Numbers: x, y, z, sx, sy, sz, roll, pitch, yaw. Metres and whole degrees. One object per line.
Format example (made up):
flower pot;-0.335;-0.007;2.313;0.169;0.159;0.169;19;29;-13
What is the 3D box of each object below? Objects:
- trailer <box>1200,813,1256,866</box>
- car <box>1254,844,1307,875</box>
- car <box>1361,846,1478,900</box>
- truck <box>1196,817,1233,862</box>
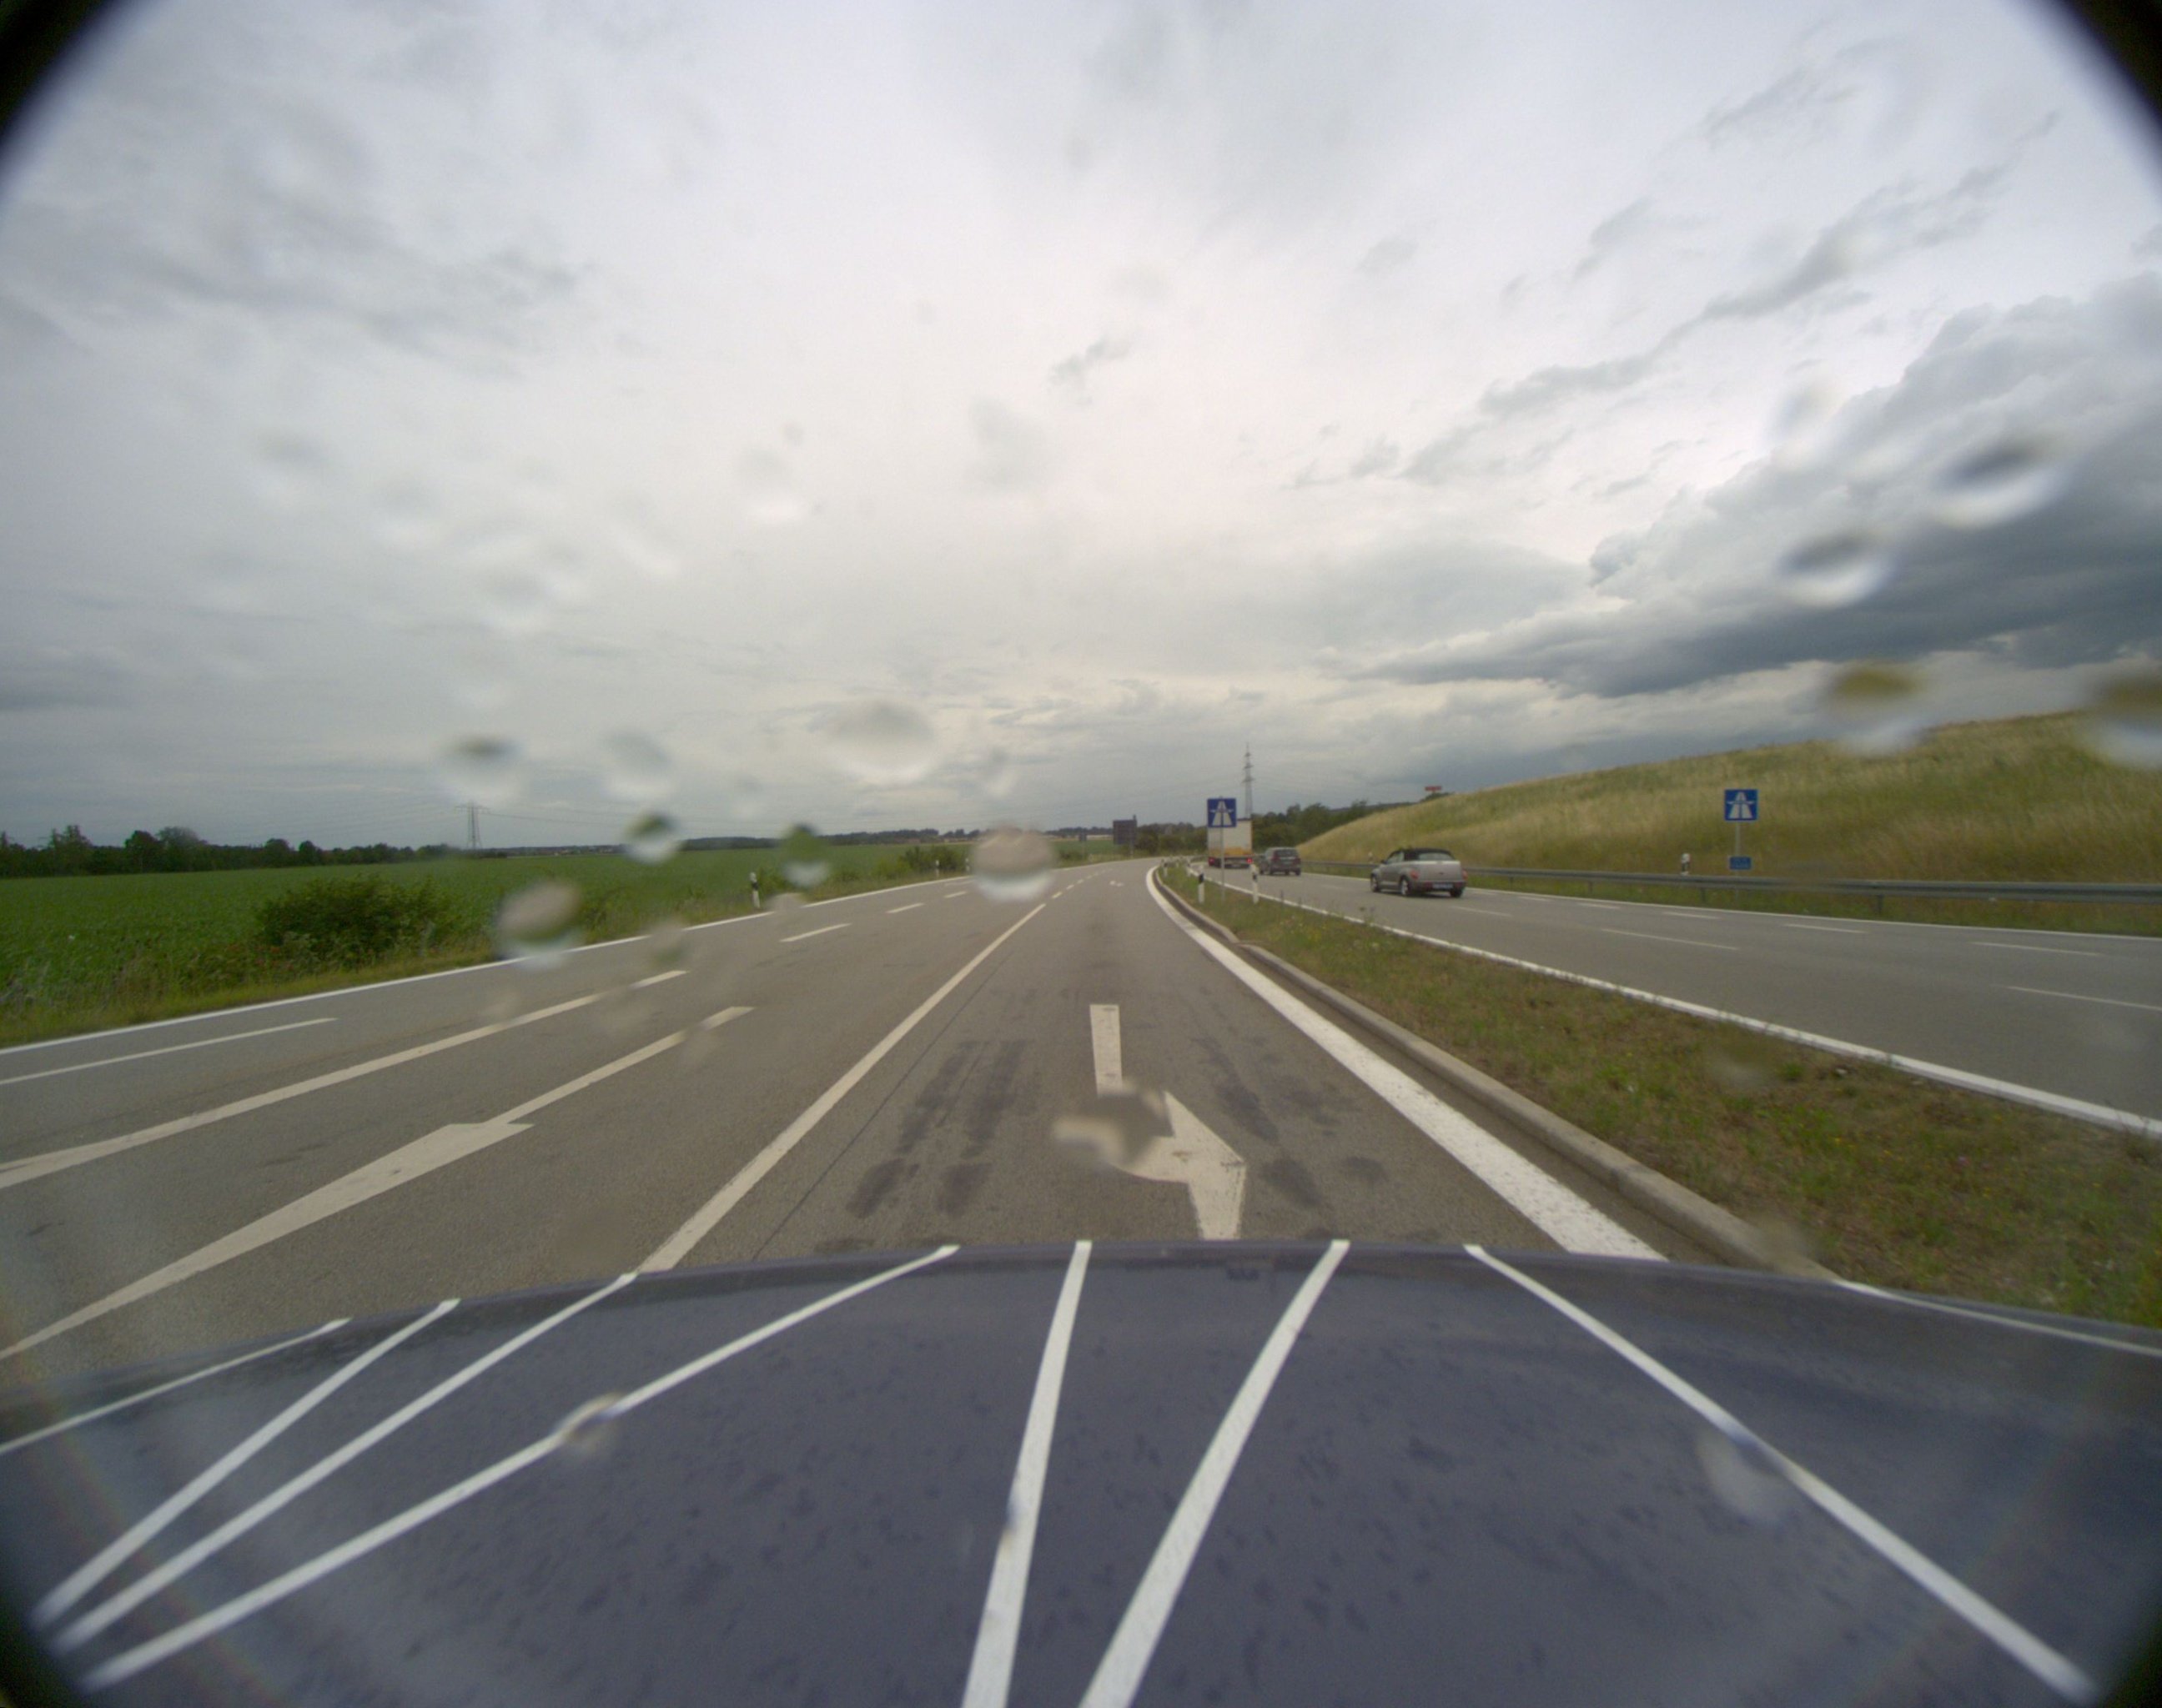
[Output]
trailer;12.846;-1.297;67.801;2.698;4.187;13.839;-2;1;2
car;11.882;0.268;45.475;1.998;1.684;4.454;-2;1;0
car;10.673;0.571;24.311;1.815;1.511;4.242;-2;0;0
truck;13.086;-1.433;74.749;2.656;4.118;6.402;-2;1;2
